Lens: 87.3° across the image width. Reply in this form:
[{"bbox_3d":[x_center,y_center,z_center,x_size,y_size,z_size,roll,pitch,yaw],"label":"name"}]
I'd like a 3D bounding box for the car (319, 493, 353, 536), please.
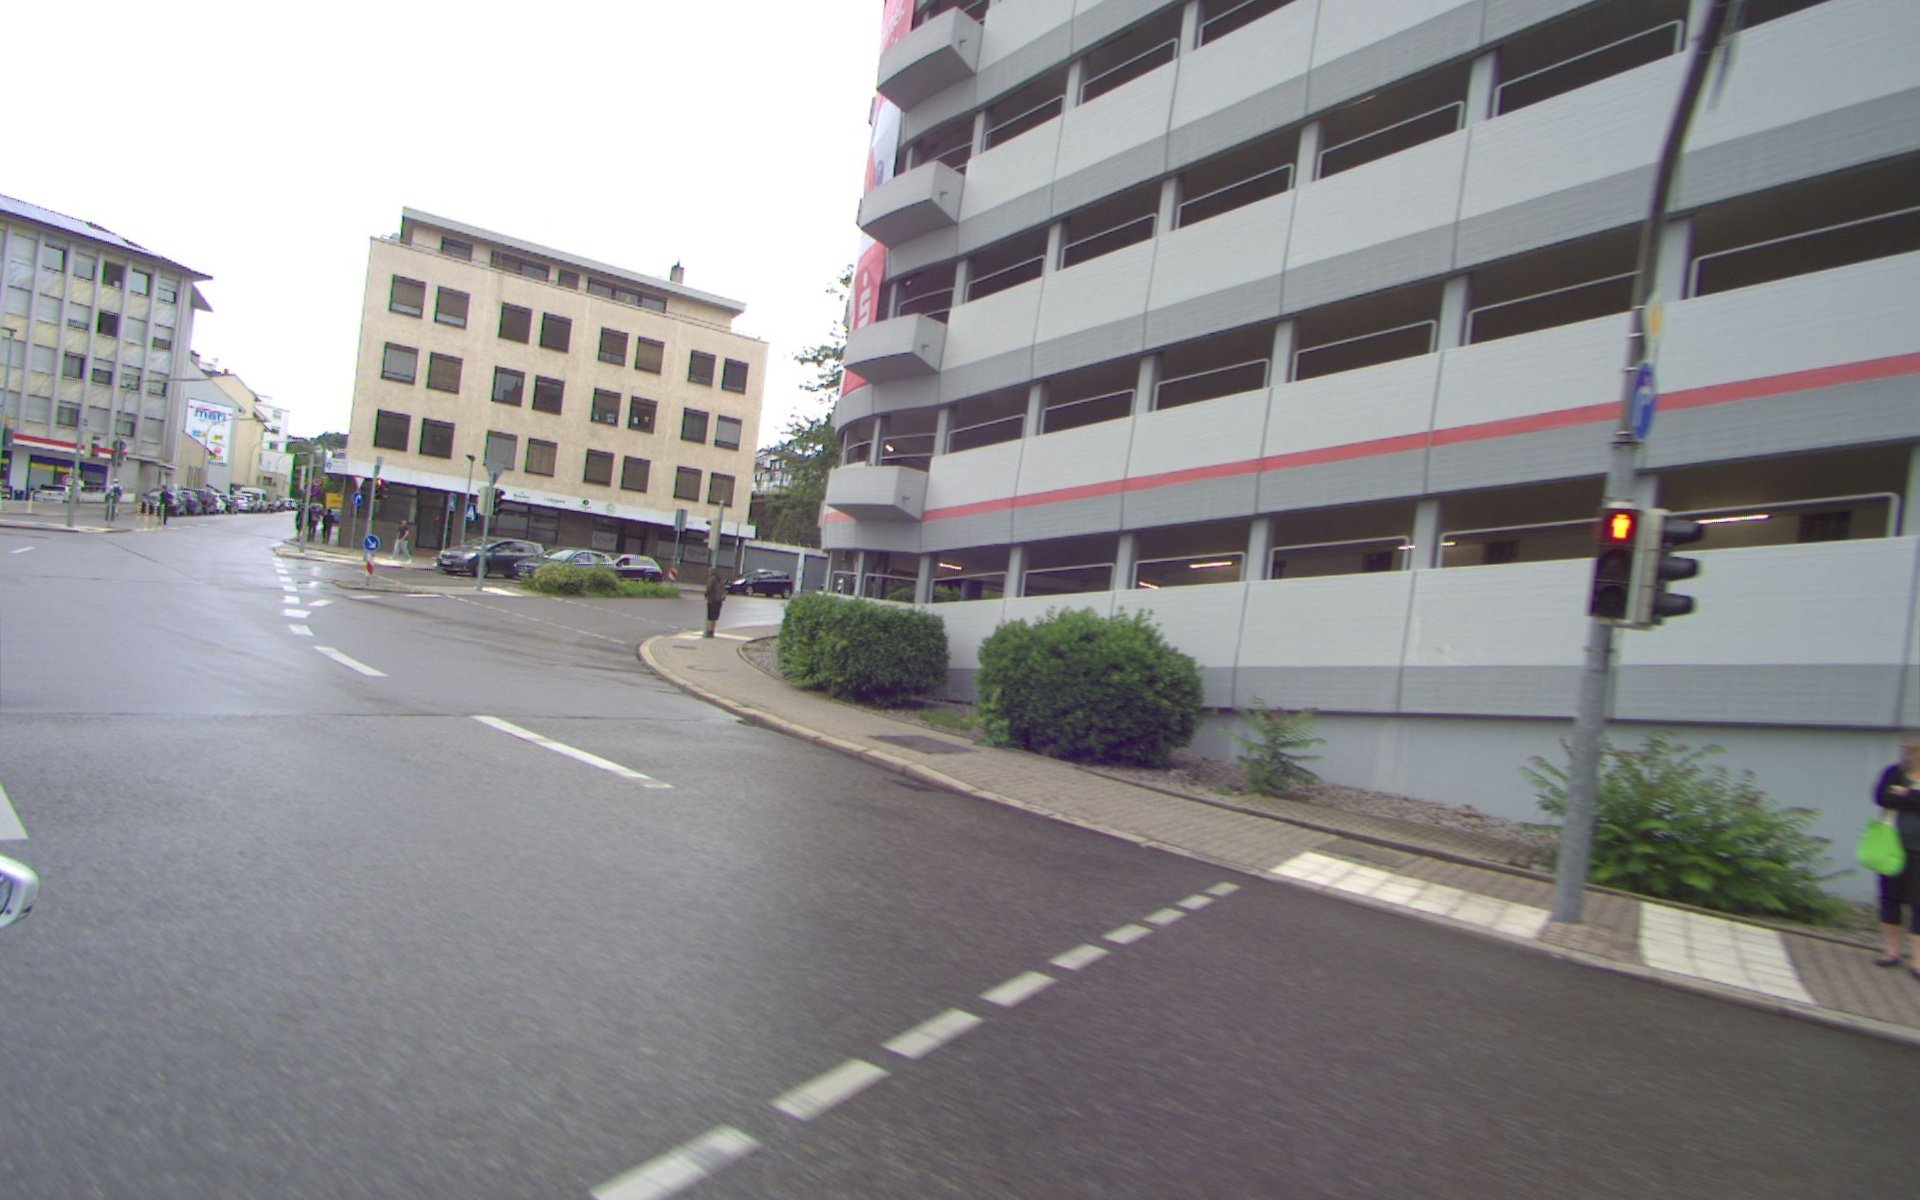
[{"bbox_3d":[-63.977,-8.715,103.215,2.359,3.730,4.956,8,-2,-30],"label":"car"}]

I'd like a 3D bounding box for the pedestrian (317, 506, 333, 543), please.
[{"bbox_3d":[-31.905,-3.801,50.523,0.475,1.763,0.570,8,-1,-30],"label":"pedestrian"}]

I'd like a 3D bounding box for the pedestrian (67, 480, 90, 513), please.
[{"bbox_3d":[-44.429,-5.211,50.697,0.472,1.532,0.574,7,-1,-11],"label":"pedestrian"}]

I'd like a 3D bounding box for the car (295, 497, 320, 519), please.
[{"bbox_3d":[-76.956,-10.854,118.627,1.978,2.037,3.972,8,-2,-29],"label":"car"}]

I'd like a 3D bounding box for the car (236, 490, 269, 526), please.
[{"bbox_3d":[-69.006,-8.948,98.136,1.980,3.008,4.544,8,-2,-31],"label":"car"}]

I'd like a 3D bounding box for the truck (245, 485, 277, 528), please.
[{"bbox_3d":[-72.665,-9.658,104.599,1.980,3.959,5.442,8,-2,-31],"label":"truck"}]

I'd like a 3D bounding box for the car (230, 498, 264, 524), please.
[{"bbox_3d":[-65.037,-8.107,91.788,1.980,1.886,4.544,8,-2,-31],"label":"car"}]

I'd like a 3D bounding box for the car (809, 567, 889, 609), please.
[{"bbox_3d":[-6.410,-0.673,58.182,1.975,1.803,4.142,6,-3,45],"label":"car"}]

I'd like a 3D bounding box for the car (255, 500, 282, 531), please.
[{"bbox_3d":[-78.395,-9.510,114.046,1.980,3.051,4.544,8,-2,-31],"label":"car"}]

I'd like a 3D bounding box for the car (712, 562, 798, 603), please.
[{"bbox_3d":[-10.965,-0.927,54.046,1.975,1.603,3.979,6,-3,45],"label":"car"}]

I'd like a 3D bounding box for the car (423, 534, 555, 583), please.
[{"bbox_3d":[-18.335,-1.588,39.378,1.963,1.463,4.481,7,1,21],"label":"car"}]

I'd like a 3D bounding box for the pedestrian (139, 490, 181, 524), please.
[{"bbox_3d":[-37.454,-4.343,47.101,1.095,1.368,0.916,7,-1,-11],"label":"pedestrian"}]

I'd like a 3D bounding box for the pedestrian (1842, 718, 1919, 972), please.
[{"bbox_3d":[6.779,1.729,7.205,0.580,1.681,0.512,3,2,-43],"label":"pedestrian"}]

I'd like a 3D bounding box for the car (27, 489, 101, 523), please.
[{"bbox_3d":[-54.596,-5.681,61.379,1.973,1.534,4.396,5,-1,-23],"label":"car"}]

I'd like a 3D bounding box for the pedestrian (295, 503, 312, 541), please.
[{"bbox_3d":[-32.640,-3.871,50.008,0.475,1.763,0.570,8,-1,-30],"label":"pedestrian"}]

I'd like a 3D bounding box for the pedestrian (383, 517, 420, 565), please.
[{"bbox_3d":[-23.006,-2.430,41.425,0.761,1.812,0.859,7,-1,25],"label":"pedestrian"}]

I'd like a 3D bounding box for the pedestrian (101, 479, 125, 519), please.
[{"bbox_3d":[-40.778,-4.862,48.447,0.674,1.778,0.724,8,-1,-37],"label":"pedestrian"}]

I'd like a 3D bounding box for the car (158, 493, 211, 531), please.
[{"bbox_3d":[-48.850,-5.477,63.447,1.980,1.886,4.544,8,-2,-31],"label":"car"}]

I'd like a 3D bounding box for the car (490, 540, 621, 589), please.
[{"bbox_3d":[-15.717,-1.357,39.334,1.965,1.463,4.477,7,1,26],"label":"car"}]

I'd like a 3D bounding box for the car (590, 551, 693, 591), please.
[{"bbox_3d":[-14.906,-1.325,47.310,1.964,1.463,4.478,7,1,26],"label":"car"}]

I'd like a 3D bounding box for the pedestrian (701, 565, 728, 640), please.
[{"bbox_3d":[-6.517,0.054,26.730,0.499,1.916,0.543,5,4,-10],"label":"pedestrian"}]

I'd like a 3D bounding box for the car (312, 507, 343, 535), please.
[{"bbox_3d":[-57.301,-7.097,91.193,1.978,2.037,3.972,8,-2,-29],"label":"car"}]

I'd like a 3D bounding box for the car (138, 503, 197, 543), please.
[{"bbox_3d":[-46.194,-4.452,58.706,1.980,1.886,4.544,8,-2,-31],"label":"car"}]

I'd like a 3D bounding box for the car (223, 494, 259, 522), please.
[{"bbox_3d":[-62.473,-7.947,87.483,1.980,1.886,4.544,8,-2,-31],"label":"car"}]

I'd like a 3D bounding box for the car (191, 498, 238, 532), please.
[{"bbox_3d":[-51.270,-5.816,69.251,1.980,1.886,4.544,8,-2,-31],"label":"car"}]

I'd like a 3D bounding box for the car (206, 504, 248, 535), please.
[{"bbox_3d":[-54.731,-5.977,75.193,1.980,1.886,4.544,8,-2,-31],"label":"car"}]
